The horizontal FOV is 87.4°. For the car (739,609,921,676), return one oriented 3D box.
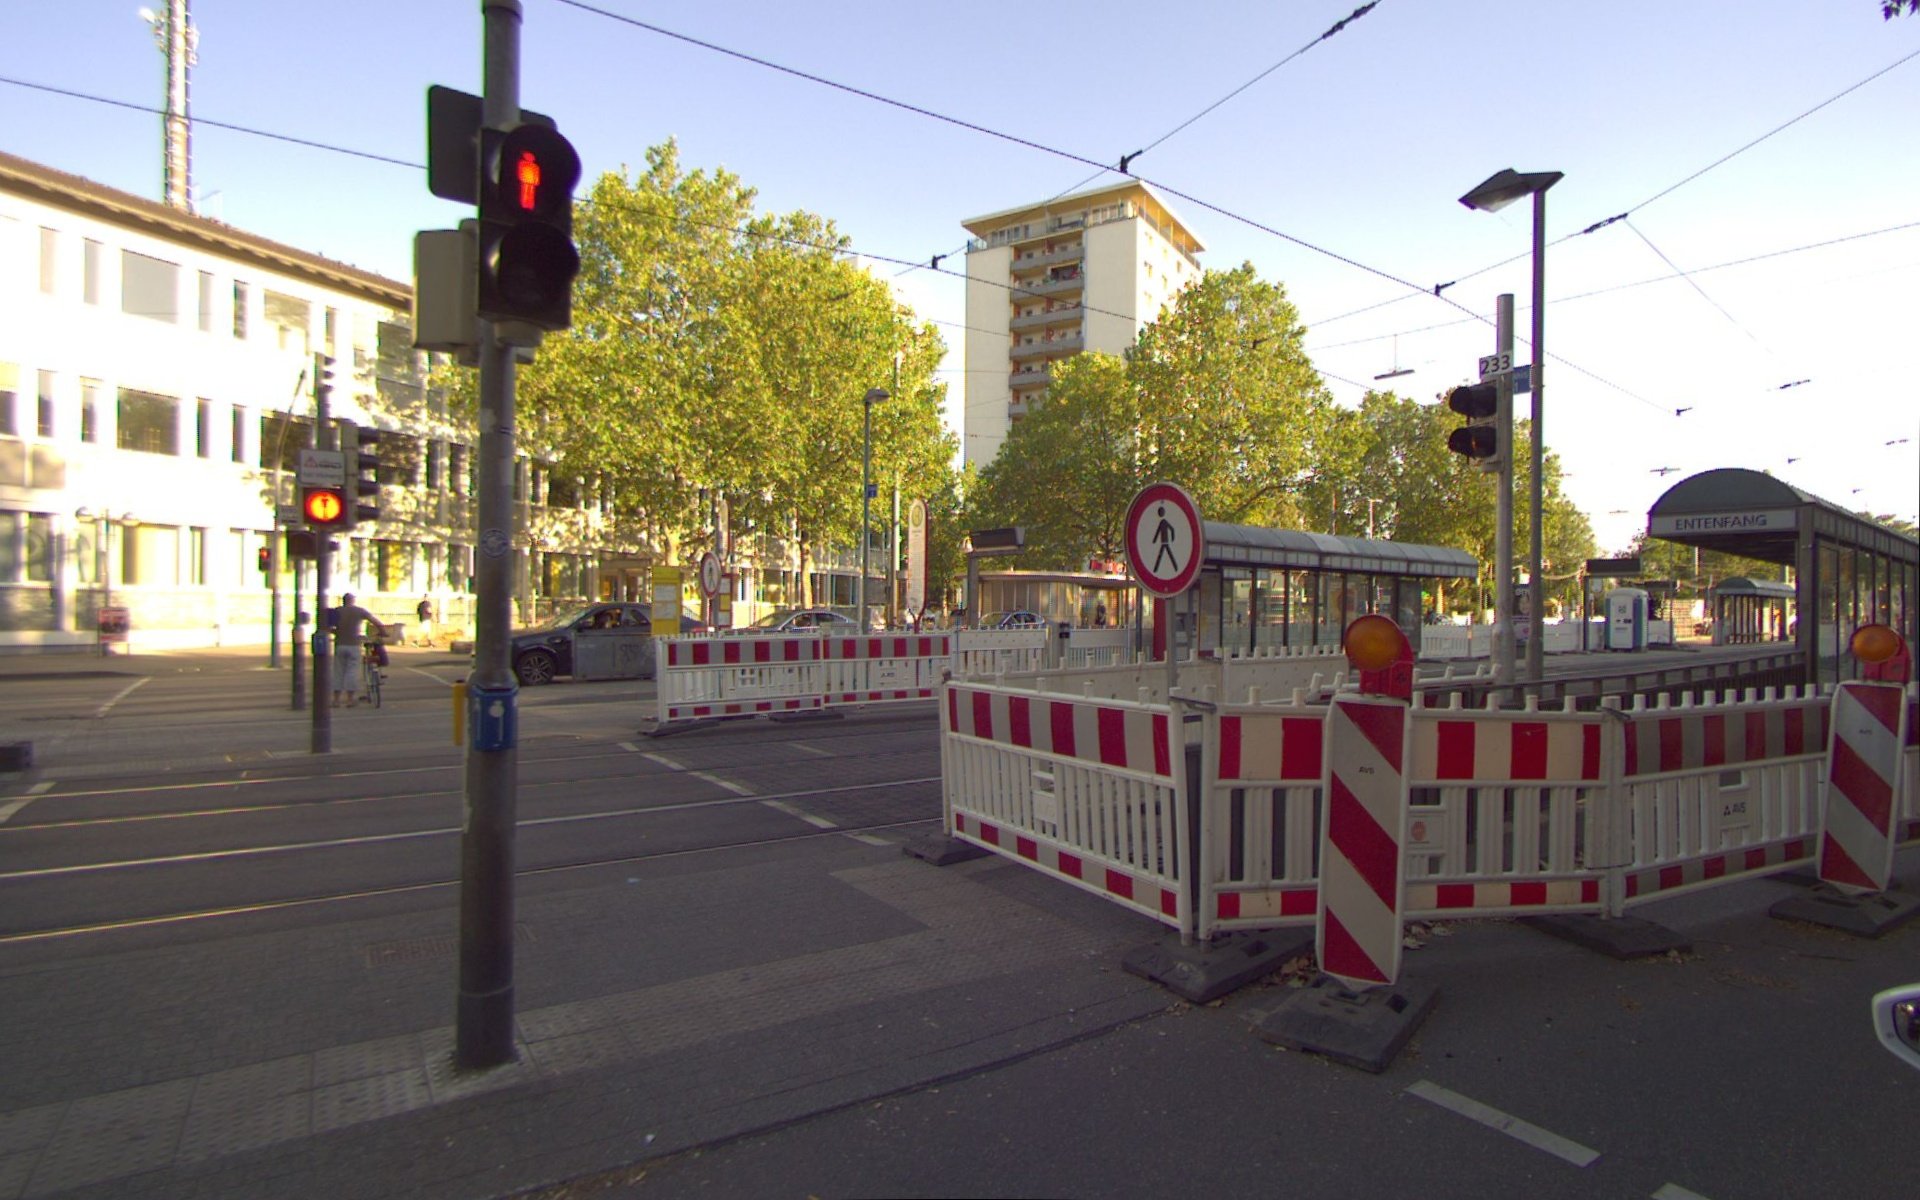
[{"bbox_3d":[-3.504,1.093,27.509,4.650,1.677,1.932,0,-1,-39],"label":"car"}]

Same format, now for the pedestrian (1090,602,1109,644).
[{"bbox_3d":[6.162,1.021,44.328,0.560,1.833,0.609,0,-1,40],"label":"pedestrian"}]

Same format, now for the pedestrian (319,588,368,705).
[{"bbox_3d":[-9.590,0.713,15.647,0.589,1.782,0.593,0,0,-28],"label":"pedestrian"}]

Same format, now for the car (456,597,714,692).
[{"bbox_3d":[-7.507,0.834,20.383,4.550,1.689,1.878,1,1,-41],"label":"car"}]

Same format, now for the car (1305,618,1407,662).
[{"bbox_3d":[16.619,1.635,42.105,4.648,1.677,1.933,0,-1,-38],"label":"car"}]

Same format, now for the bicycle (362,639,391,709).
[{"bbox_3d":[-9.017,1.122,15.542,0.317,0.978,1.570,0,-1,-28],"label":"bicycle"}]

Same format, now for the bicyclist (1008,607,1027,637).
[{"bbox_3d":[2.275,0.859,39.456,0.658,1.189,0.407,1,-1,-43],"label":"bicyclist"}]

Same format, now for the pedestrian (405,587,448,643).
[{"bbox_3d":[-16.843,0.479,31.747,0.792,1.752,0.885,0,0,17],"label":"pedestrian"}]

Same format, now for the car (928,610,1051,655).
[{"bbox_3d":[1.101,1.107,35.481,1.971,1.468,4.515,-1,-1,41],"label":"car"}]
